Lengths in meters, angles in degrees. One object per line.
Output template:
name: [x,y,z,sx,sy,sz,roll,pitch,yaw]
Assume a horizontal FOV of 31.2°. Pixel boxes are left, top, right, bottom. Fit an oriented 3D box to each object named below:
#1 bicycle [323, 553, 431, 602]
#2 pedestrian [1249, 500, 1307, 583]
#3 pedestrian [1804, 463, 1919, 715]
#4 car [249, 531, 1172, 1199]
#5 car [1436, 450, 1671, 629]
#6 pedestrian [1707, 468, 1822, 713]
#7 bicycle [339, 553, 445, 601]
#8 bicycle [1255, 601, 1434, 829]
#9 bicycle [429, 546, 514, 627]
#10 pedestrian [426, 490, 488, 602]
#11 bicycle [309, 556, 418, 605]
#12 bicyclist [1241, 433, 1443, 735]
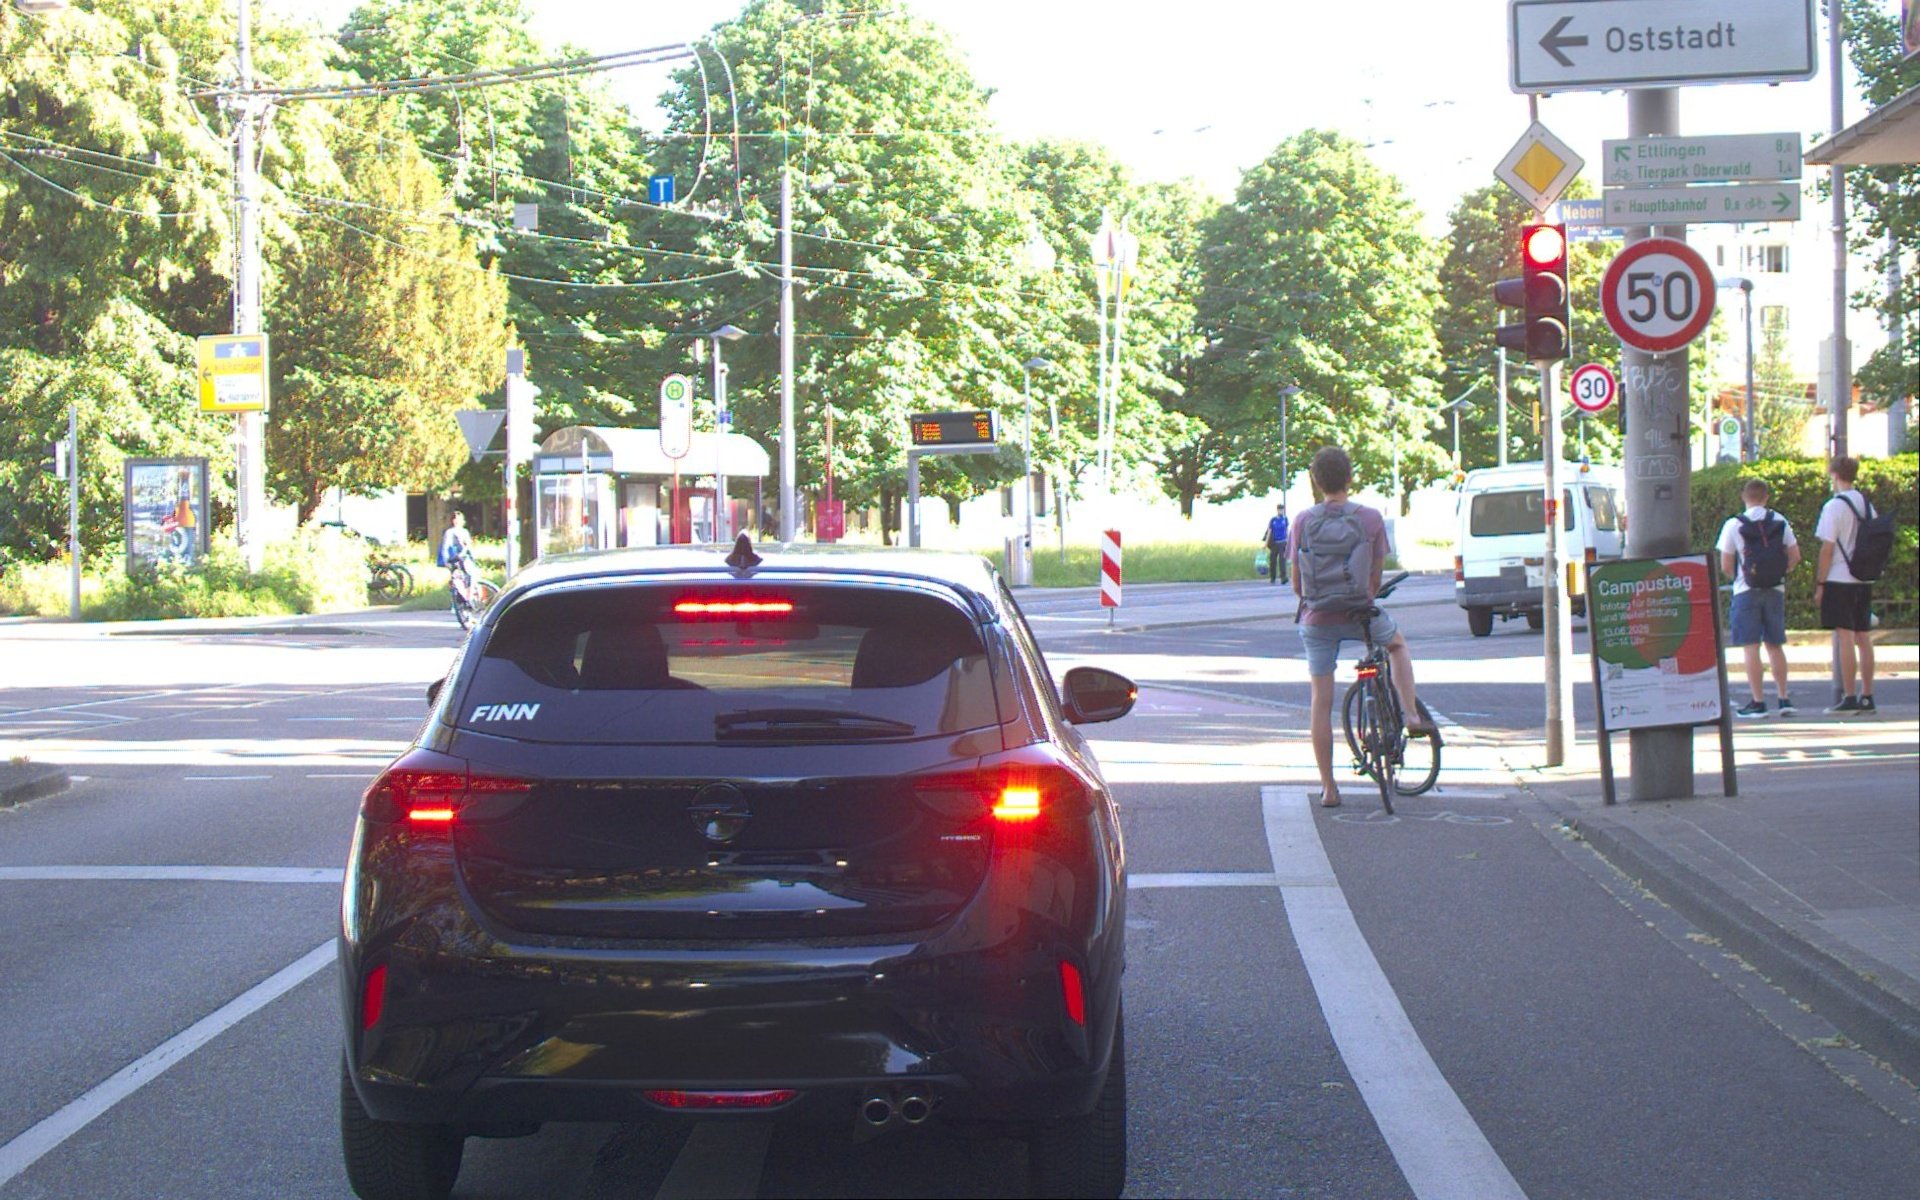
bicycle: [-10.993,-0.434,64.832,1.877,0.903,0.659,0,1,7]
pedestrian: [6.880,-1.262,74.428,0.959,1.786,0.994,0,1,25]
pedestrian: [6.769,-0.093,25.589,0.704,1.840,0.699,0,2,39]
car: [-0.456,0.562,8.718,1.800,1.436,3.940,-1,1,1]
car: [7.995,-0.789,46.030,2.092,2.270,4.301,1,1,24]
pedestrian: [5.966,-0.076,25.509,0.698,1.786,0.617,-1,1,-1]
bicycle: [-10.854,-0.441,65.703,1.877,0.903,0.659,0,1,7]
bicycle: [1.970,0.564,17.858,0.667,1.056,2.082,0,1,-1]
bicycle: [-6.614,-0.189,46.641,0.825,1.056,1.883,0,1,2]
pedestrian: [-7.689,-0.823,52.503,0.698,1.687,0.728,-1,1,-30]
bicycle: [-11.077,-0.365,63.848,1.877,0.903,0.659,0,1,7]
bicyclist: [1.963,-0.097,17.842,0.840,1.504,1.369,0,1,-2]
